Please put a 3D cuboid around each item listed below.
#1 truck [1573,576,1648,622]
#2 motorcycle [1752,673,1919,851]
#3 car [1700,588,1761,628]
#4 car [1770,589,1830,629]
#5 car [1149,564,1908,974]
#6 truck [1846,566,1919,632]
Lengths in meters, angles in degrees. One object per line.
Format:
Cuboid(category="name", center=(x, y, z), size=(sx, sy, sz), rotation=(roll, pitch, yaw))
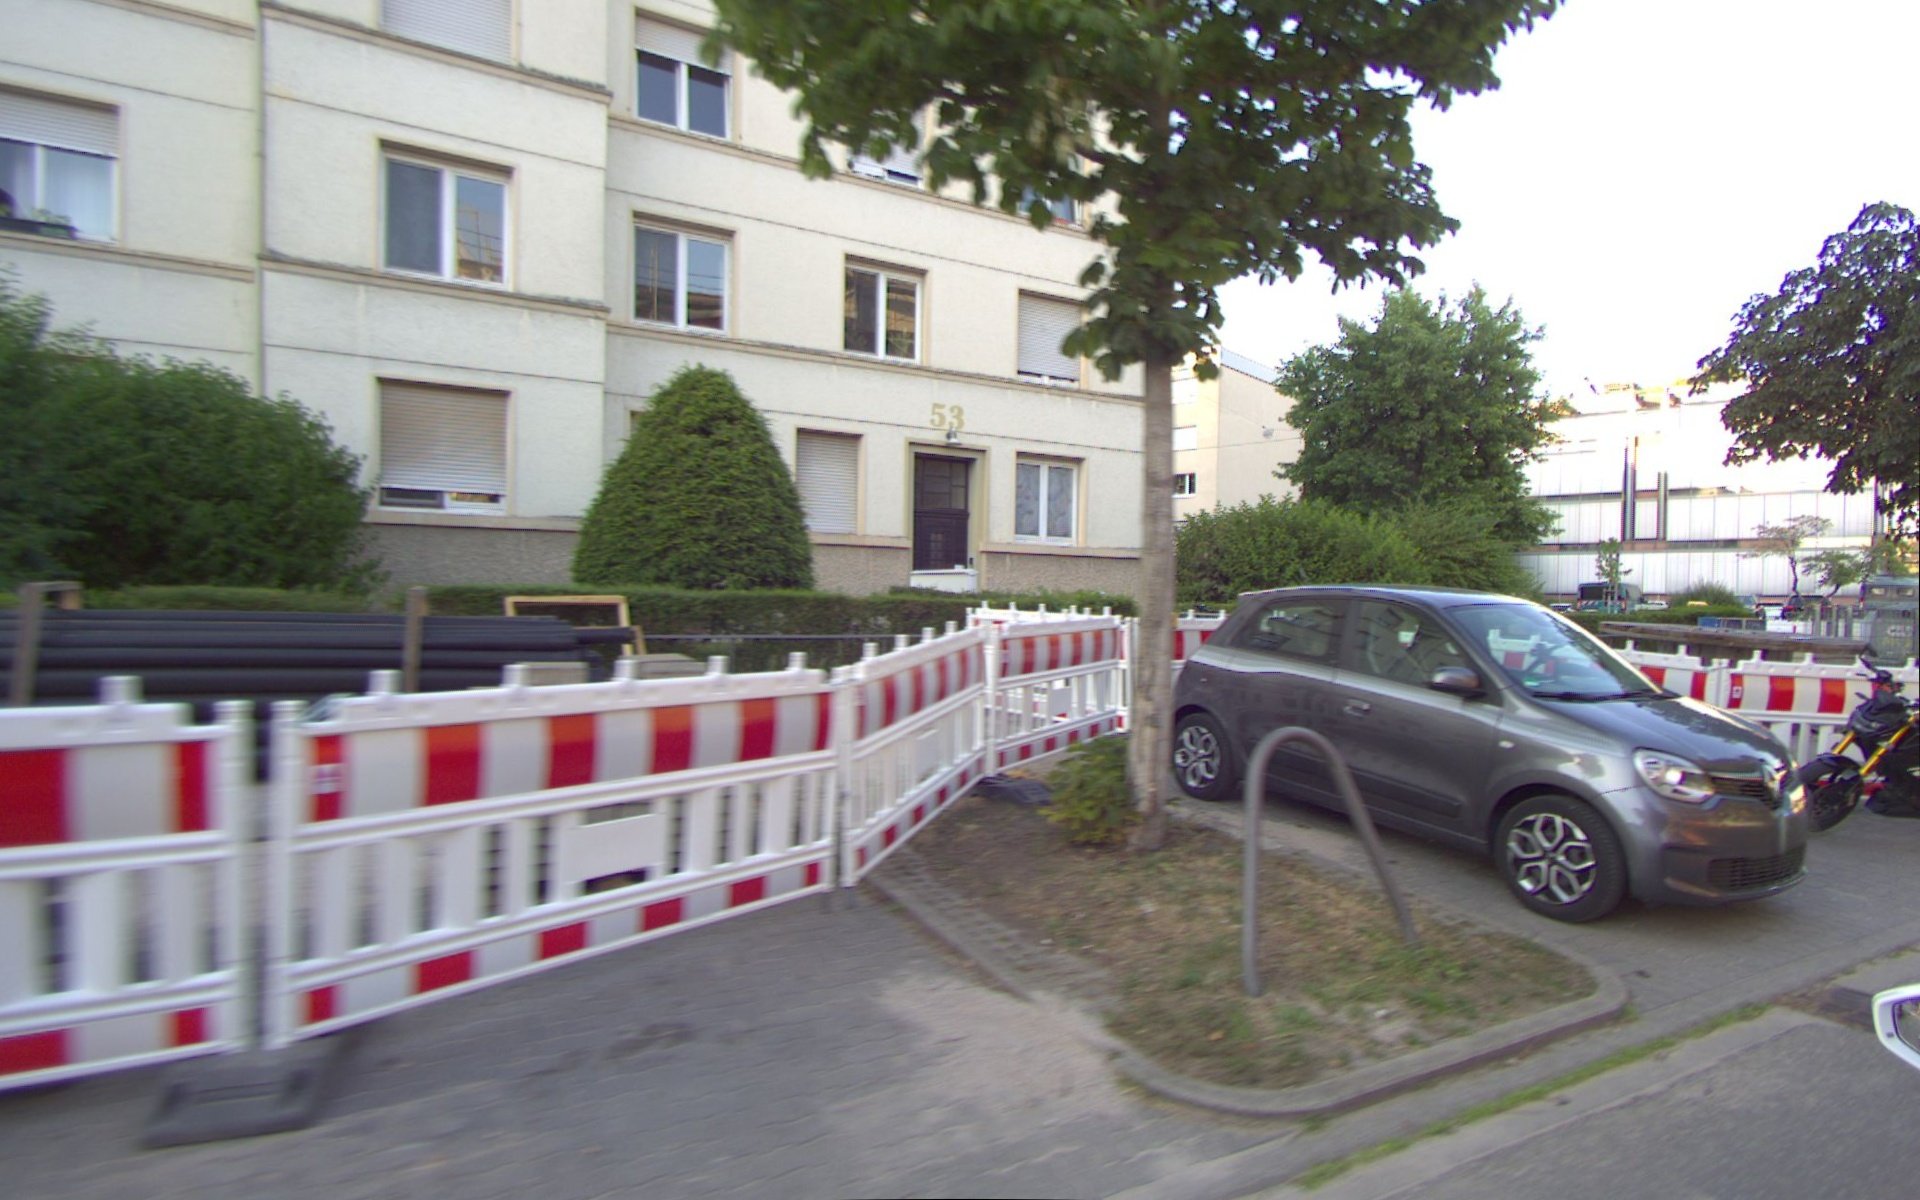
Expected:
Cuboid(category="truck", center=(31.713, -0.041, 48.944), size=(4.481, 2.118, 2.085), rotation=(0, 0, -44))
Cuboid(category="motorcycle", center=(6.495, 1.061, 6.546), size=(2.168, 1.034, 0.539), rotation=(2, 3, 0))
Cuboid(category="car", center=(35.505, 0.337, 46.244), size=(1.970, 1.750, 4.279), rotation=(1, 1, 41))
Cuboid(category="car", center=(37.463, 0.373, 44.781), size=(1.970, 1.715, 3.980), rotation=(1, 1, 41))
Cuboid(category="car", center=(2.993, 0.649, 6.091), size=(1.672, 1.578, 3.607), rotation=(1, 3, -29))
Cuboid(category="truck", center=(39.488, -0.065, 42.855), size=(2.309, 2.652, 4.943), rotation=(1, 1, 44))
